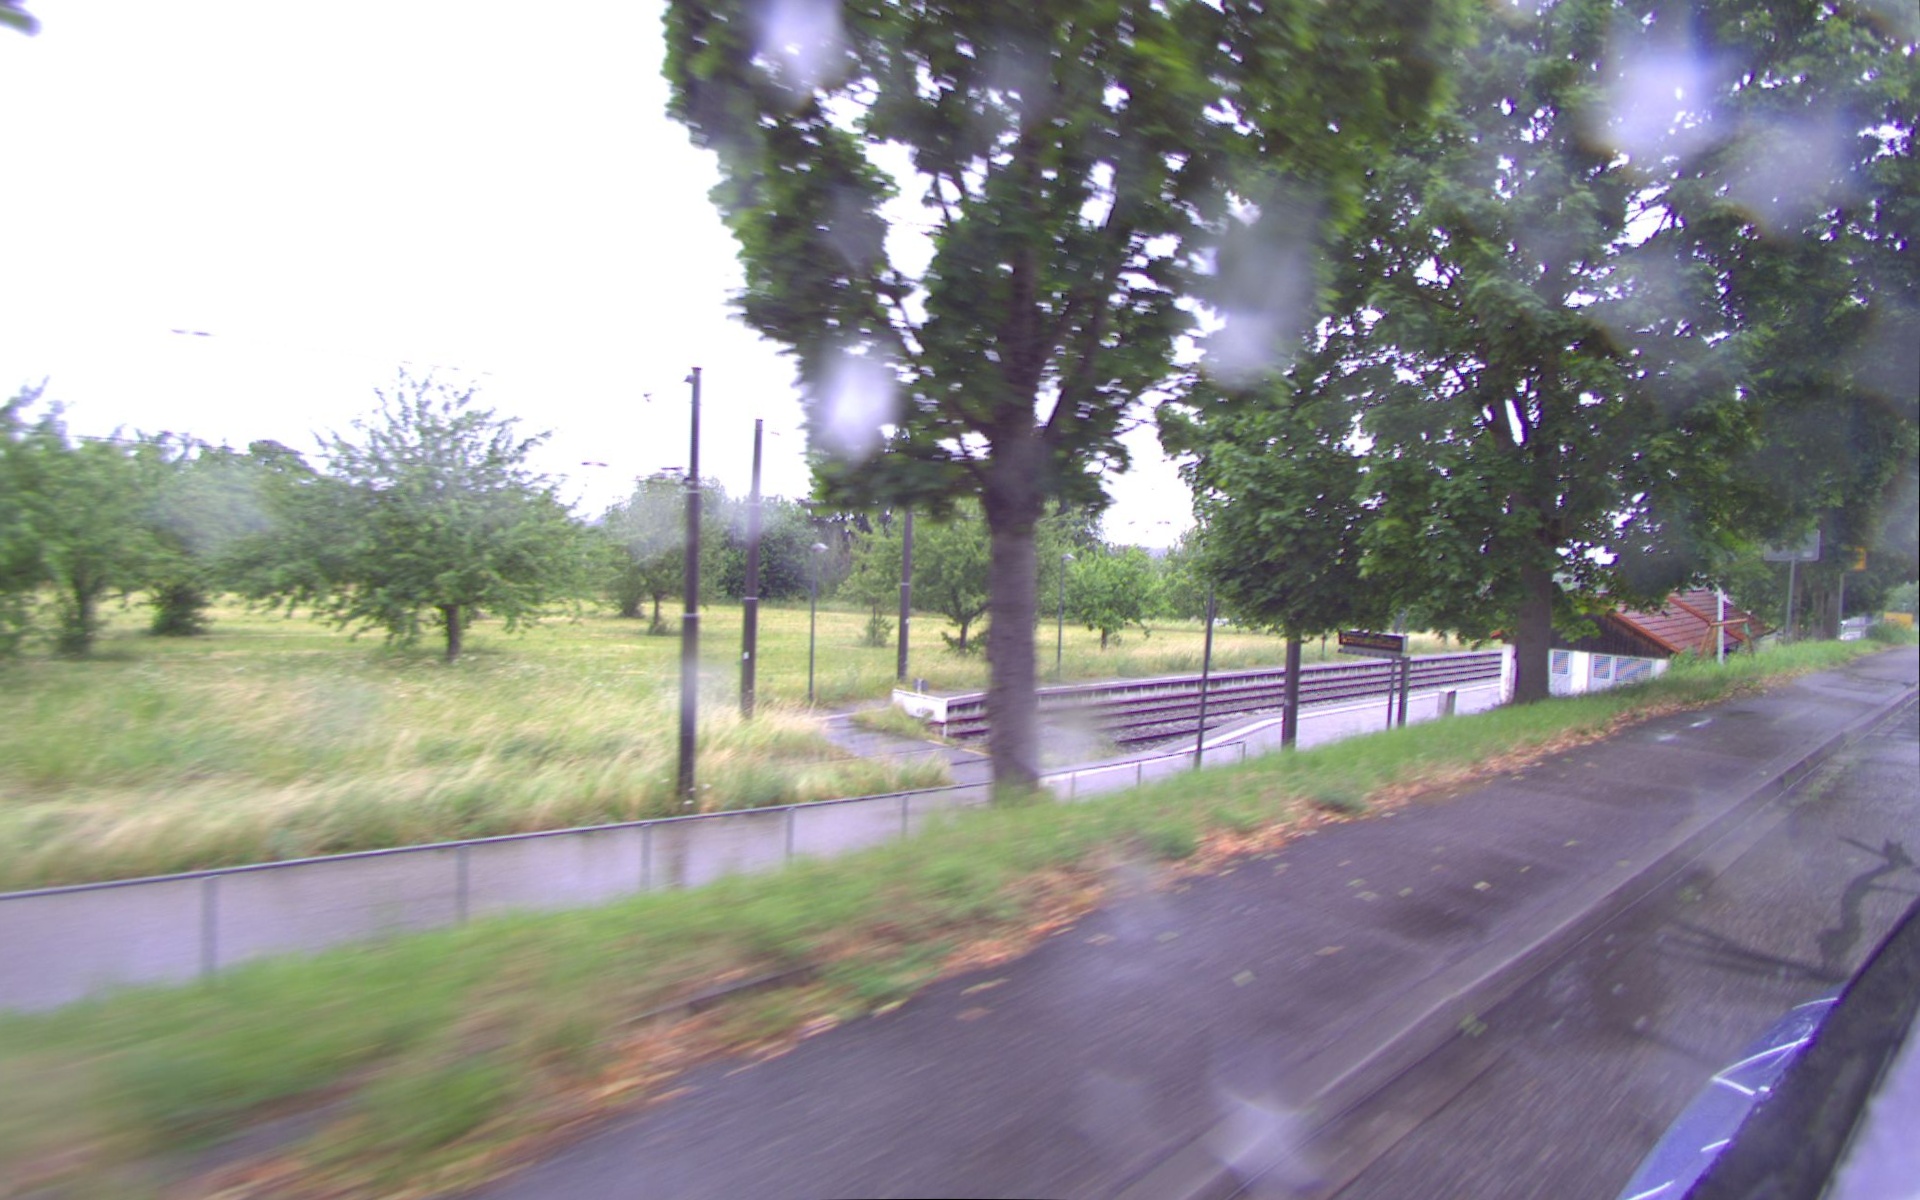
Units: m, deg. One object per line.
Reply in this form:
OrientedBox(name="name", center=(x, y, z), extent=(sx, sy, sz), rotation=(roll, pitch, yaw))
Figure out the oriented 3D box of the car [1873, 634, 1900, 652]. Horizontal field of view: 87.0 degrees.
OrientedBox(name="car", center=(118.867, 5.453, 129.841), extent=(1.989, 2.038, 3.947), rotation=(4, 2, 36))
